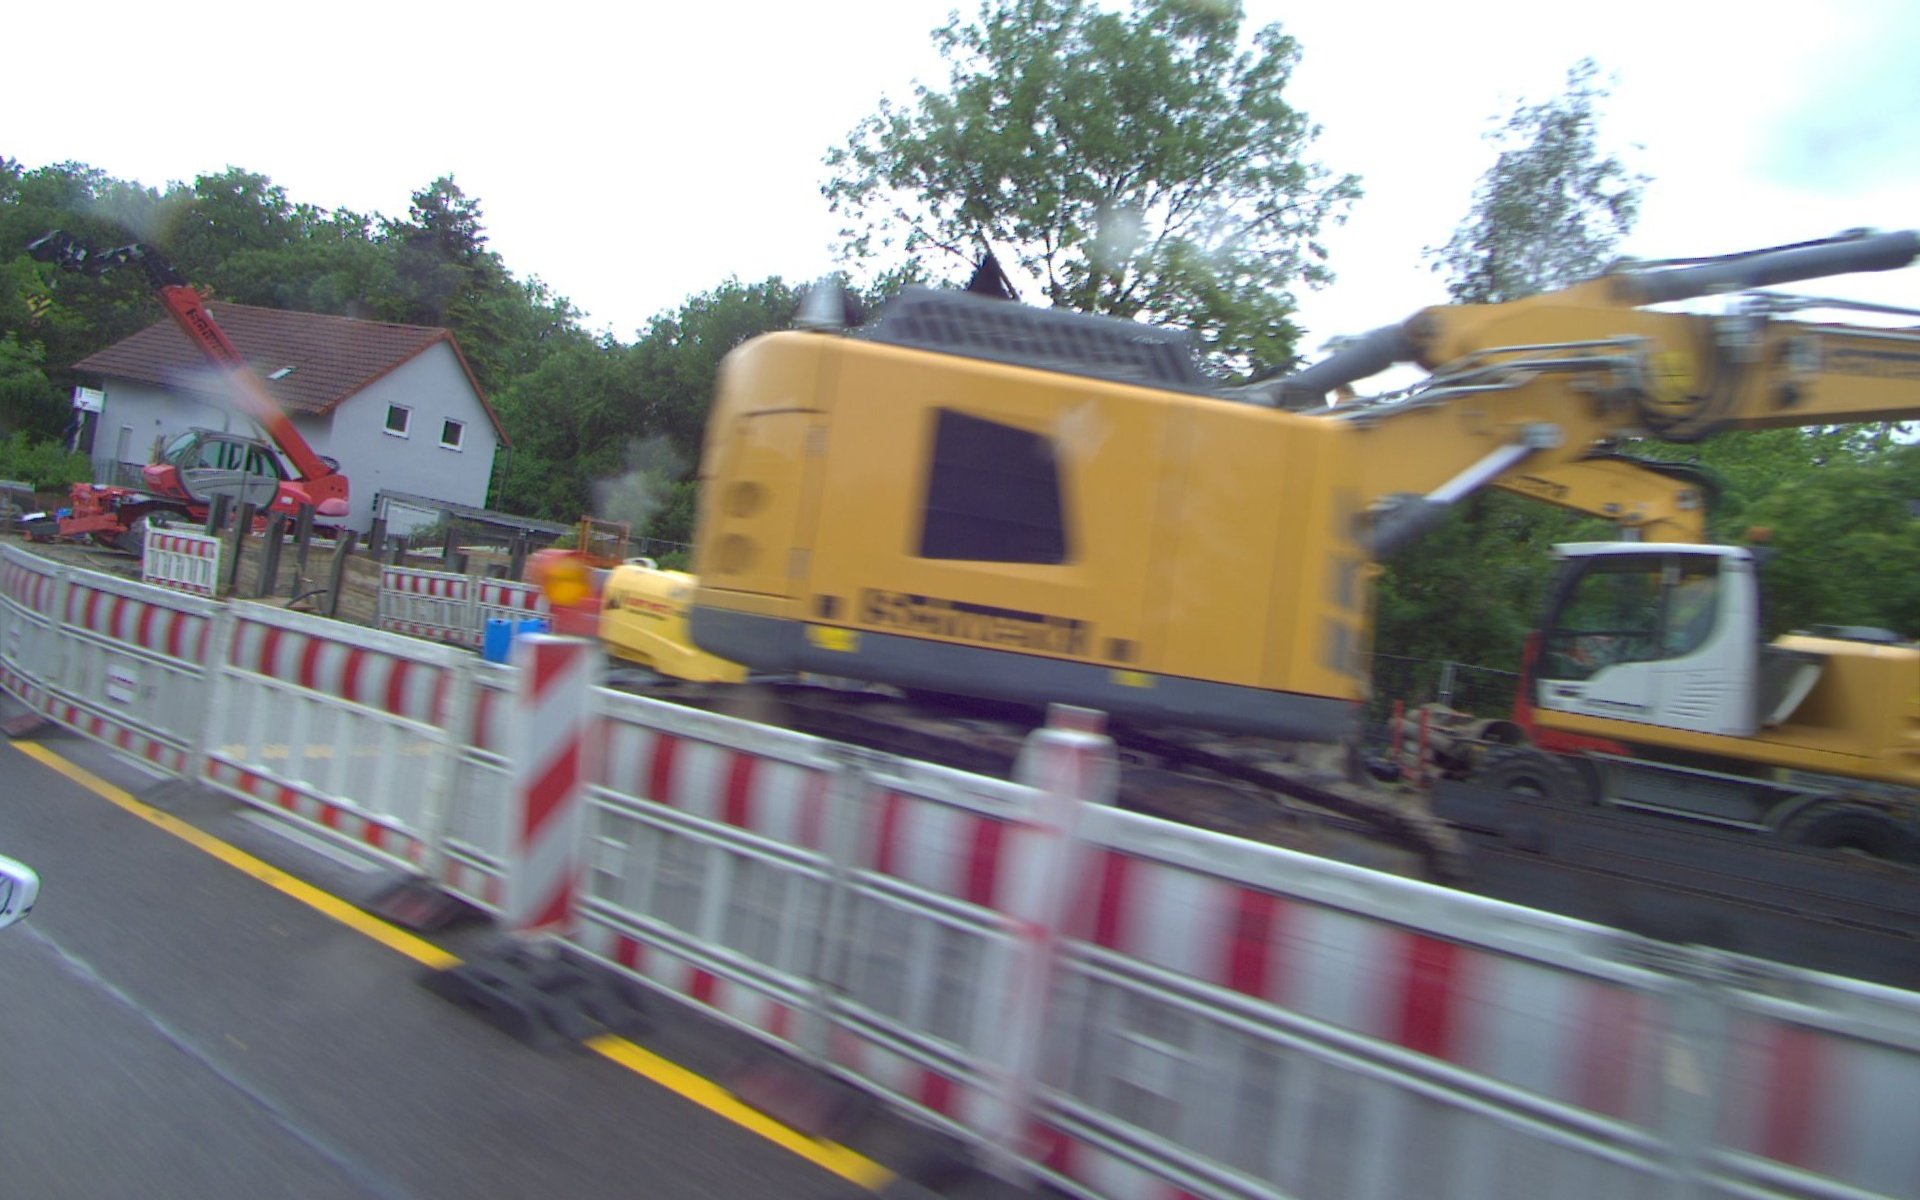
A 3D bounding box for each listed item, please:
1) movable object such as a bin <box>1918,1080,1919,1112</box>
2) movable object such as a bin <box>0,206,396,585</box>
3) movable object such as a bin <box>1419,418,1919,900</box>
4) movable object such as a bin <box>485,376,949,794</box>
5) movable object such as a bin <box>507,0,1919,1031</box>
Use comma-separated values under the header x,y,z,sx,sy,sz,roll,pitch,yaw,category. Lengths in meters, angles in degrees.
x,y,z,sx,sy,sz,roll,pitch,yaw,category
5.439,0.550,2.523,3.769,3.344,1.998,5,-1,27,movable object such as a bin
-17.756,-4.194,23.362,2.992,6.769,6.968,8,-1,27,movable object such as a bin
7.387,0.459,10.033,4.537,3.935,1.998,8,0,29,movable object such as a bin
-2.273,-0.042,10.738,2.364,3.240,4.002,14,1,21,movable object such as a bin
3.519,-0.532,6.158,10.626,4.976,3.066,6,-1,-5,movable object such as a bin
